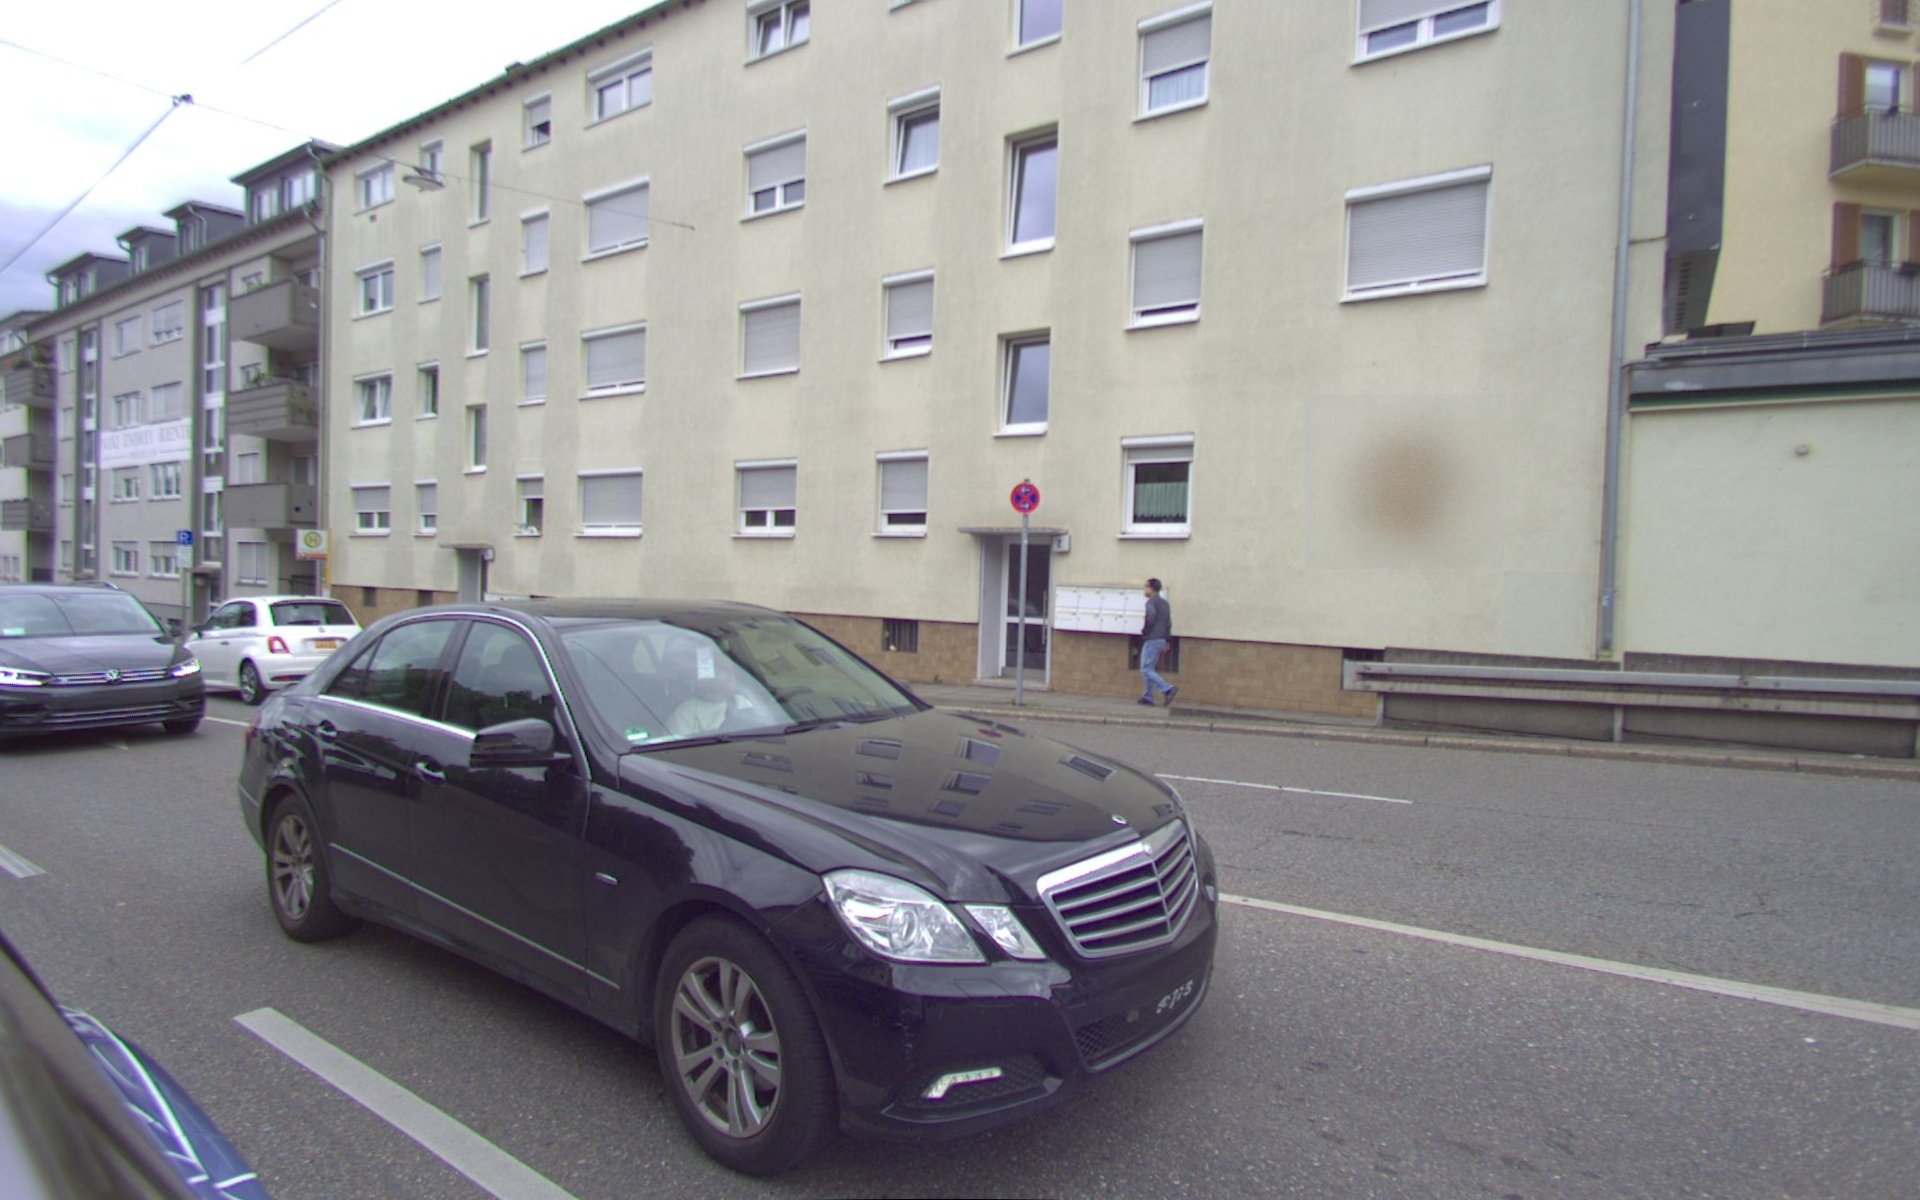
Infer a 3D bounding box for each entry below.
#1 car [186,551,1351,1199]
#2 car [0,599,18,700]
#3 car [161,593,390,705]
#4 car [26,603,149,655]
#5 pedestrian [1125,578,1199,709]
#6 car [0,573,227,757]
[{"bbox_3d":[-1.173,0.601,4.135,4.834,1.439,1.975,1,1,37],"label":"car"},{"bbox_3d":[-15.195,0.671,14.271,4.134,1.365,1.862,0,0,33],"label":"car"},{"bbox_3d":[-10.085,0.639,14.858,3.520,1.458,1.585,0,0,34],"label":"car"},{"bbox_3d":[-26.003,0.833,30.143,3.675,1.421,1.757,1,-1,32],"label":"car"},{"bbox_3d":[2.645,0.546,13.232,0.776,1.649,0.683,0,0,29],"label":"pedestrian"},{"bbox_3d":[-9.842,0.539,10.827,4.468,1.623,1.842,1,1,35],"label":"car"}]
